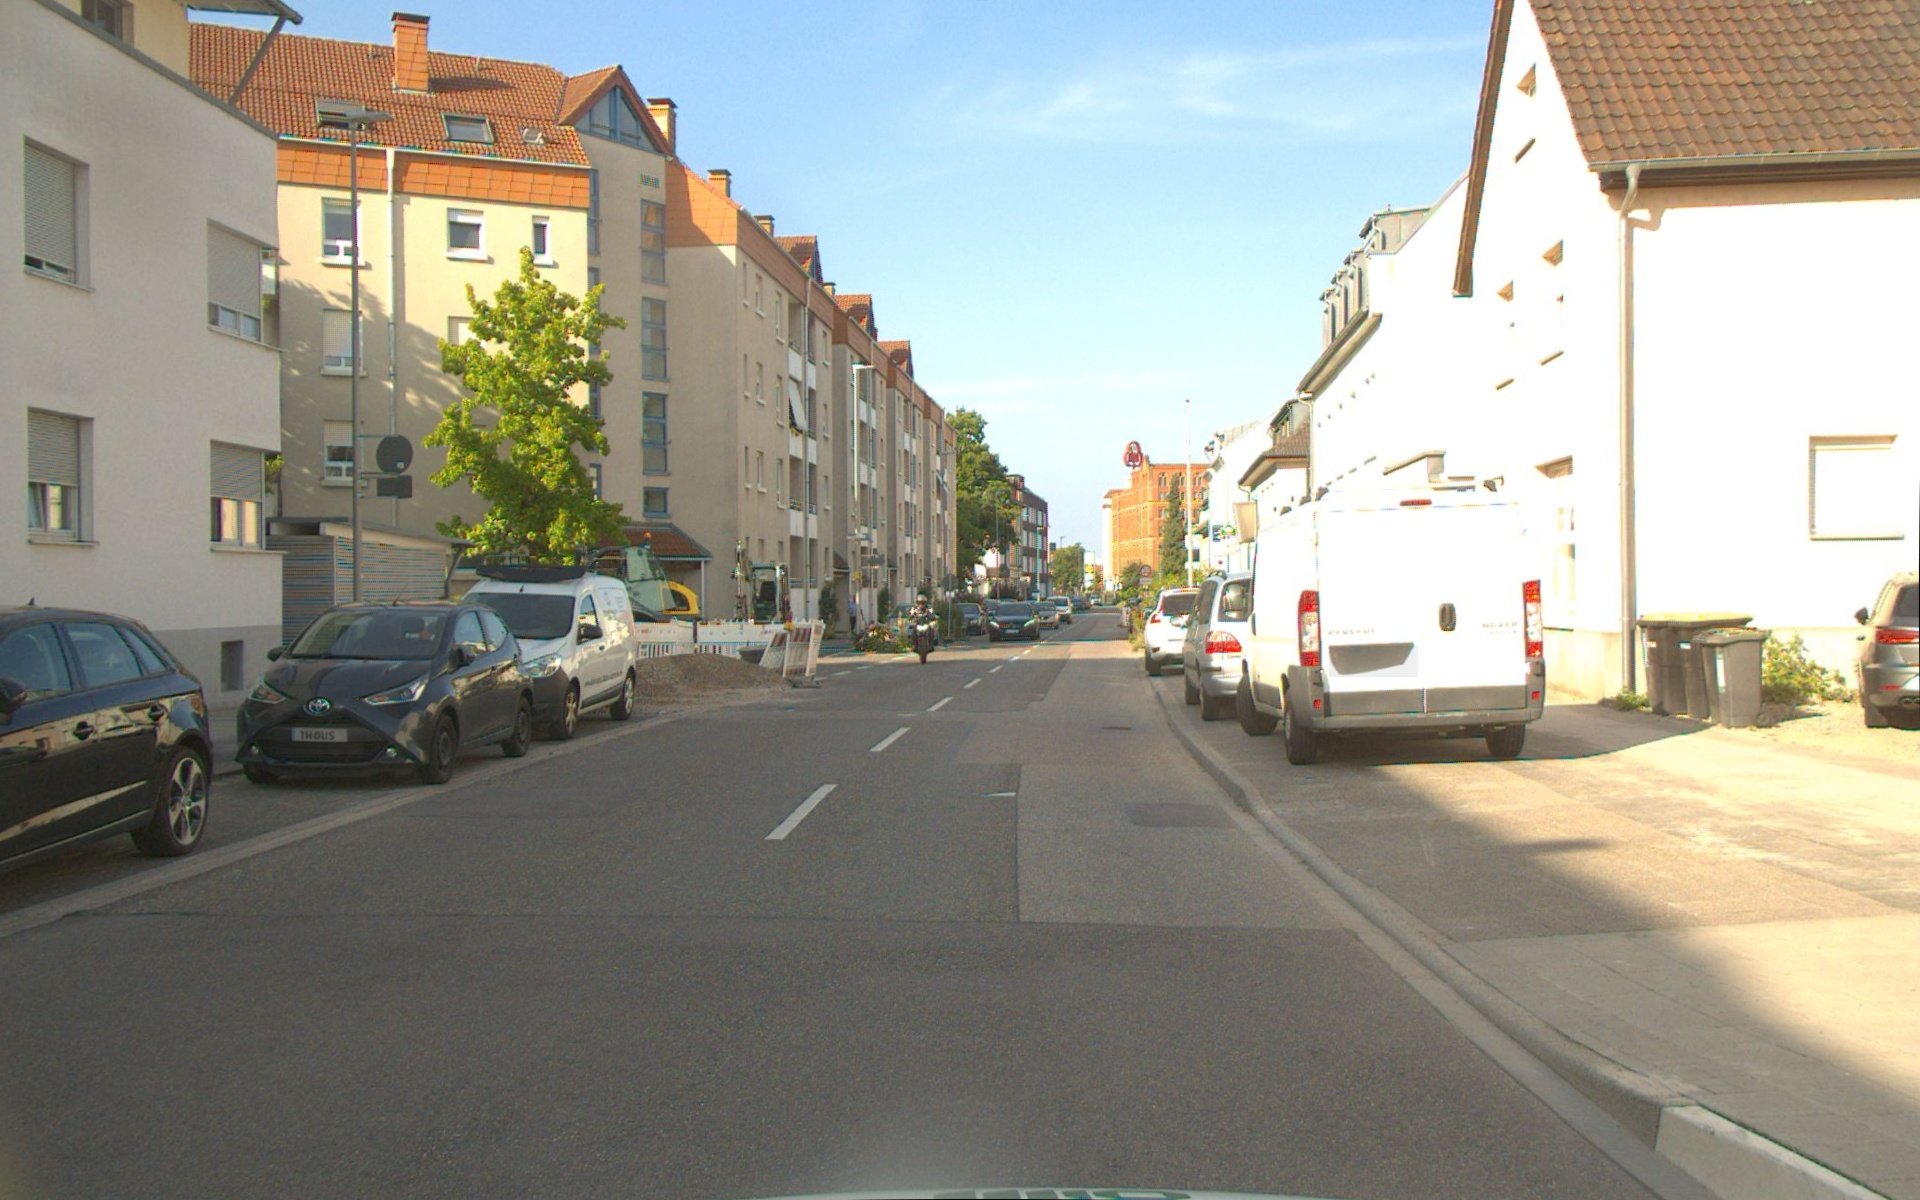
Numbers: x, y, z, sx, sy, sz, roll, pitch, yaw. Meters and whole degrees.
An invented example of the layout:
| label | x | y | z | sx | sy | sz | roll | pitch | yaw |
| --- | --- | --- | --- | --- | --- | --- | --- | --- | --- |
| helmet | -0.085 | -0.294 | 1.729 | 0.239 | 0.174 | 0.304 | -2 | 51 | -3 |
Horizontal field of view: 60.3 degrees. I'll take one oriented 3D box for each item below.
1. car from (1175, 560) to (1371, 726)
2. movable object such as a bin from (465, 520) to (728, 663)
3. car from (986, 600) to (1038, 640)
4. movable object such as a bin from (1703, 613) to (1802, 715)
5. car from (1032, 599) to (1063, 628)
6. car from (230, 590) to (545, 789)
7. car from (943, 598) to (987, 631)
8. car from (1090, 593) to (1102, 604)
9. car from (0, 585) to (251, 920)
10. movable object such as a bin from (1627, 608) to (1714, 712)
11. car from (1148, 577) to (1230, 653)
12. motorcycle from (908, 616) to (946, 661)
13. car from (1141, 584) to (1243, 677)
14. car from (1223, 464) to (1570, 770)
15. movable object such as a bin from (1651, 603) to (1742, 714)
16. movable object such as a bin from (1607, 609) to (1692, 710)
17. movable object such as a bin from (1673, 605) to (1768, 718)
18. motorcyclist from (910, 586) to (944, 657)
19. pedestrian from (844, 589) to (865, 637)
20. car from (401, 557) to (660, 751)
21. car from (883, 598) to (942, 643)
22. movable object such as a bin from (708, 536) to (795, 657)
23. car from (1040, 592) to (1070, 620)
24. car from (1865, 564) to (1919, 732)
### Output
| label | x | y | z | sx | sy | sz | roll | pitch | yaw |
| --- | --- | --- | --- | --- | --- | --- | --- | --- | --- |
| car | 3.757 | 0.459 | 20.552 | 1.741 | 1.771 | 4.485 | -2 | 0 | 3 |
| movable object such as a bin | -7.780 | -0.179 | 35.832 | 5.396 | 2.951 | 2.107 | 0 | 1 | -10 |
| car | 2.015 | 0.727 | 63.002 | 1.791 | 1.445 | 4.211 | -1 | 0 | 4 |
| movable object such as a bin | 7.705 | 0.615 | 16.101 | 0.712 | 0.975 | 0.554 | 0 | 0 | 3 |
| car | 4.790 | 0.725 | 89.944 | 1.583 | 1.480 | 3.687 | -1 | 0 | 4 |
| car | -4.798 | 0.672 | 14.351 | 1.462 | 1.490 | 3.514 | 0 | 0 | 1 |
| car | 0.247 | 0.638 | 73.897 | 1.650 | 1.430 | 4.086 | 0 | 0 | 5 |
| car | 21.365 | -0.223 | 260.052 | 1.726 | 1.644 | 4.003 | -1 | 0 | 5 |
| car | -5.192 | 0.680 | 8.139 | 1.692 | 1.503 | 4.262 | 0 | 0 | -2 |
| movable object such as a bin | 7.748 | 0.648 | 18.056 | 0.712 | 1.112 | 0.554 | 0 | 0 | 3 |
| car | 6.164 | 0.354 | 44.663 | 2.031 | 1.888 | 4.614 | -2 | 0 | 8 |
| motorcycle | -0.788 | 0.910 | 39.777 | 0.752 | 1.002 | 2.200 | 0 | 0 | 3 |
| car | 4.659 | 0.556 | 33.670 | 1.774 | 1.713 | 4.479 | -2 | 0 | 5 |
| car | 3.880 | 0.117 | 15.717 | 2.129 | 2.368 | 4.999 | -2 | 0 | 3 |
| movable object such as a bin | 7.743 | 0.607 | 17.404 | 0.712 | 1.152 | 0.554 | 0 | 0 | 3 |
| movable object such as a bin | 7.772 | 0.661 | 18.667 | 0.712 | 1.112 | 0.625 | 0 | 0 | 3 |
| movable object such as a bin | 7.708 | 0.614 | 16.788 | 0.712 | 1.112 | 0.554 | -1 | 0 | 3 |
| motorcyclist | -0.779 | 0.499 | 39.744 | 0.753 | 1.681 | 0.844 | 1 | 0 | 2 |
| pedestrian | -4.101 | 0.492 | 64.110 | 0.703 | 1.850 | 0.745 | 0 | 0 | 6 |
| car | -4.847 | 0.540 | 19.323 | 1.691 | 1.995 | 4.440 | 0 | 0 | 2 |
| car | -1.583 | 0.666 | 55.977 | 1.606 | 1.420 | 3.673 | -1 | 0 | 4 |
| movable object such as a bin | -5.736 | -0.109 | 45.866 | 1.613 | 3.193 | 3.902 | -1 | 0 | 4 |
| car | 6.388 | 0.400 | 110.506 | 1.881 | 1.798 | 4.340 | -1 | 0 | 4 |
| car | 9.716 | 0.370 | 15.931 | 1.624 | 1.431 | 3.974 | -2 | 0 | 28 |
